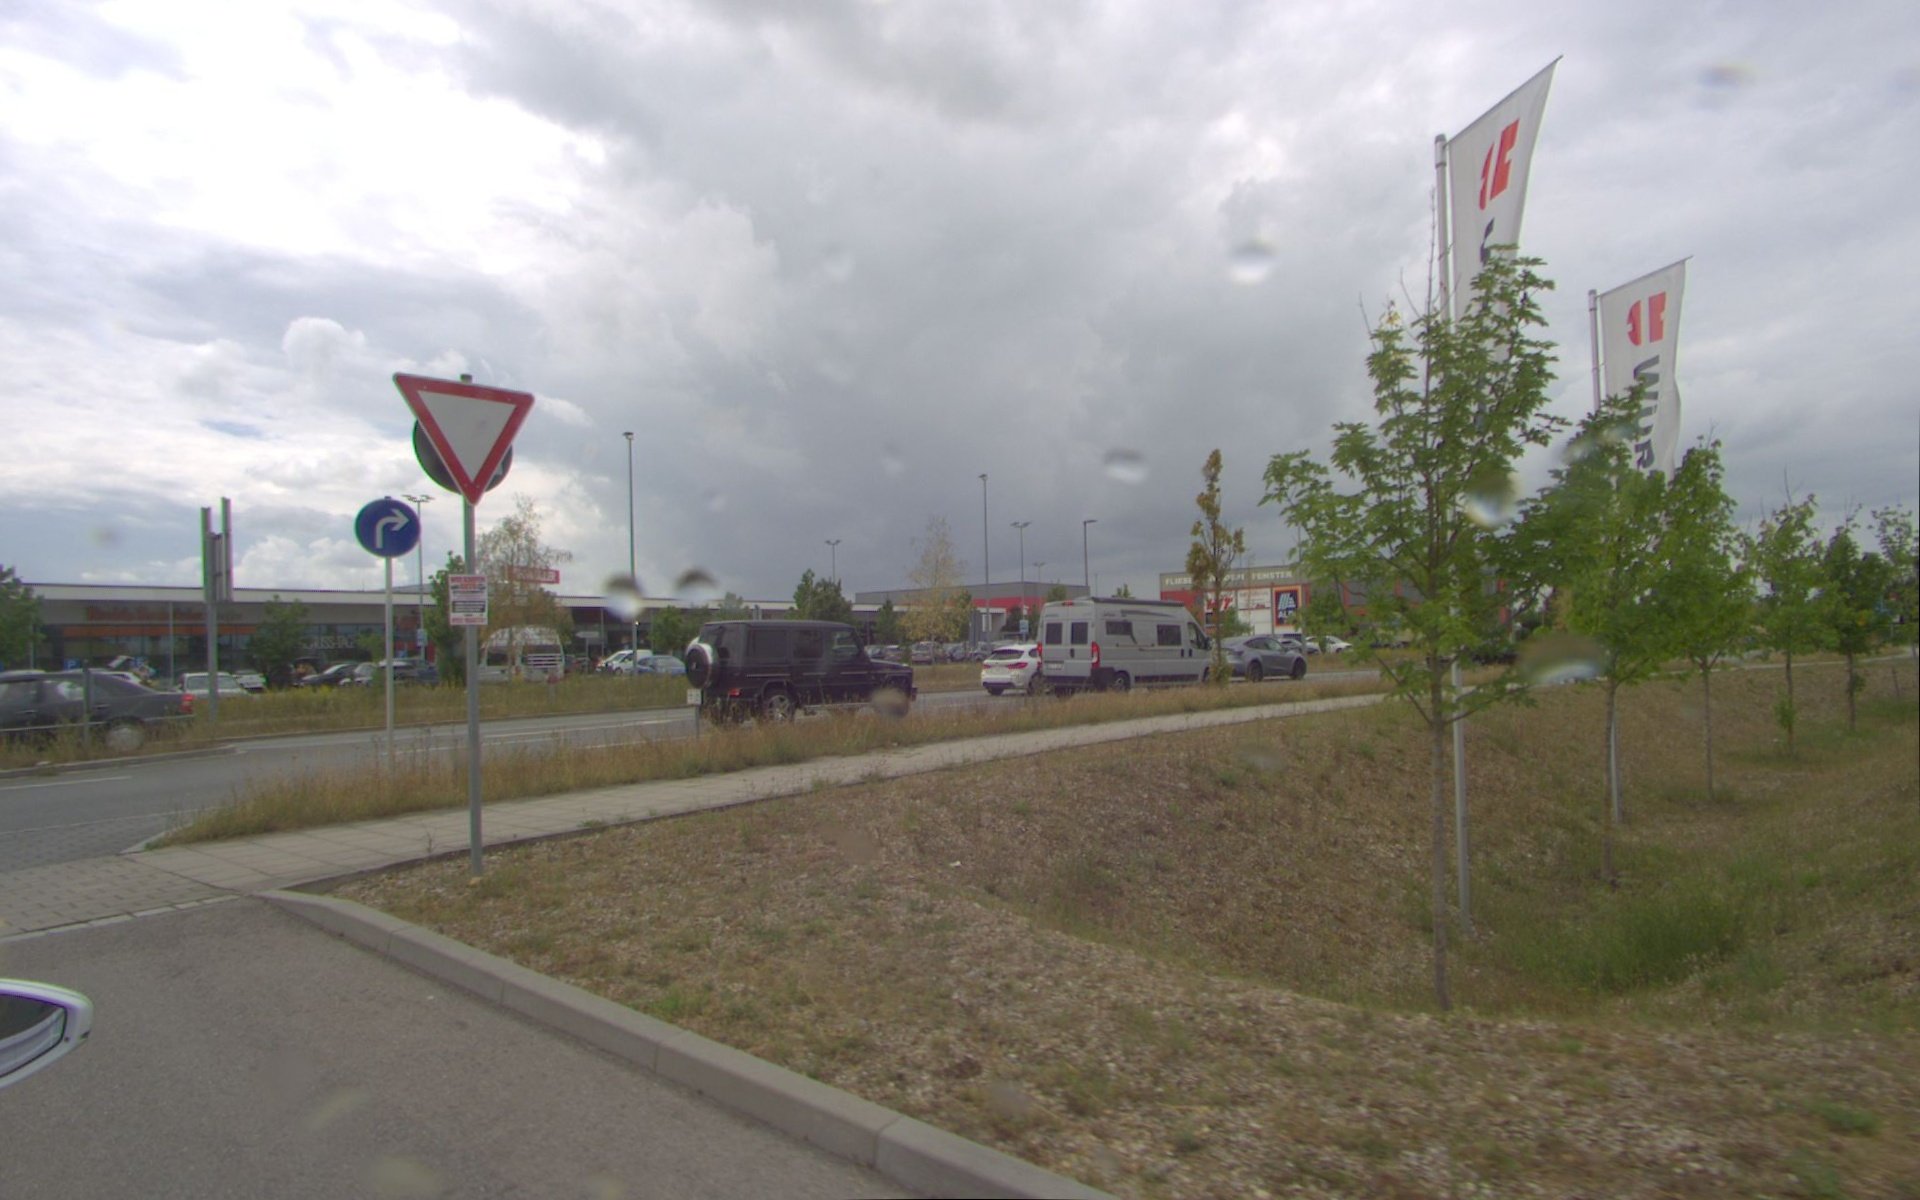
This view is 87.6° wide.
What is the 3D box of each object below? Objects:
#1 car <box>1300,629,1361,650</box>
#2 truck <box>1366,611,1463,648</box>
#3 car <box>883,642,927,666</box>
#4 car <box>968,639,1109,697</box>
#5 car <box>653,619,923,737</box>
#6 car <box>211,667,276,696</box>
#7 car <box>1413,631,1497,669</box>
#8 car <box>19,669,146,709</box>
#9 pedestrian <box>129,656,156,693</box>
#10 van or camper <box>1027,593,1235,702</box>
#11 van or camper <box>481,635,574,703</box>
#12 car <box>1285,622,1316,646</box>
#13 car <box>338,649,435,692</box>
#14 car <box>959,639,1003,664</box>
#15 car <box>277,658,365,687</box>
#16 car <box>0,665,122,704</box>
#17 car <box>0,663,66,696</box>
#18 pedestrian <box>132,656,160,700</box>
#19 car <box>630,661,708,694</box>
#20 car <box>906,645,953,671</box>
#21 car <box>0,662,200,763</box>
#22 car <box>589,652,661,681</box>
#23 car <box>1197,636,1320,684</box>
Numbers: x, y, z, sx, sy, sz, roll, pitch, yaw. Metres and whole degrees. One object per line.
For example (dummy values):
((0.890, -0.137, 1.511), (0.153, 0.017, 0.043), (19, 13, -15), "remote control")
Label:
((28.724, 3.043, 77.741), (1.980, 1.460, 3.966), (1, -4, -42), "car")
((40.370, 2.648, 88.920), (8.040, 2.982, 2.676), (-1, -2, -18), "truck")
((-4.266, 4.161, 77.812), (1.735, 1.674, 3.824), (-2, -2, 26), "car")
((2.343, 1.949, 29.211), (4.208, 1.468, 1.784), (0, -3, -45), "car")
((-3.115, 1.390, 18.928), (1.980, 1.947, 4.805), (-3, -4, 44), "car")
((-41.451, 4.693, 57.923), (3.950, 1.527, 1.987), (-3, -3, 37), "car")
((22.417, 2.243, 45.278), (4.289, 1.588, 1.893), (1, -3, -41), "car")
((-36.595, 3.681, 41.832), (1.646, 1.472, 3.737), (-3, -2, 34), "car")
((-37.486, 3.400, 45.925), (0.889, 1.652, 0.818), (-4, -3, 40), "pedestrian")
((4.686, 1.250, 26.663), (6.104, 2.573, 2.177), (2, -3, -43), "van or camper")
((-17.305, 2.723, 39.954), (2.267, 2.523, 3.966), (1, -3, -42), "van or camper")
((33.272, 3.285, 97.826), (1.996, 2.233, 4.329), (-3, -2, 30), "car")
((-21.230, 2.615, 37.030), (4.107, 1.469, 1.978), (-5, -4, 43), "car")
((1.548, 3.722, 73.371), (1.735, 1.674, 3.824), (-2, -2, 26), "car")
((-38.000, 4.296, 59.608), (1.974, 1.527, 3.975), (-3, -3, 36), "car")
((-39.175, 3.668, 43.686), (1.646, 1.472, 3.737), (-3, -2, 34), "car")
((-46.870, 4.002, 50.490), (3.950, 1.527, 1.987), (-3, -3, 37), "car")
((-38.521, 3.678, 47.385), (0.992, 2.039, 0.861), (-3, -2, 39), "pedestrian")
((-13.232, 3.516, 45.413), (1.792, 1.401, 4.115), (0, -4, -42), "car")
((-2.290, 4.398, 76.222), (1.969, 1.756, 3.986), (-2, -2, 26), "car")
((-14.850, 1.794, 15.726), (1.770, 1.413, 4.340), (-5, -3, 38), "car")
((-22.952, 4.534, 68.772), (1.972, 1.841, 4.407), (-4, -3, 32), "car")
((10.804, 2.129, 36.079), (4.828, 1.527, 1.797), (0, -2, -39), "car")
